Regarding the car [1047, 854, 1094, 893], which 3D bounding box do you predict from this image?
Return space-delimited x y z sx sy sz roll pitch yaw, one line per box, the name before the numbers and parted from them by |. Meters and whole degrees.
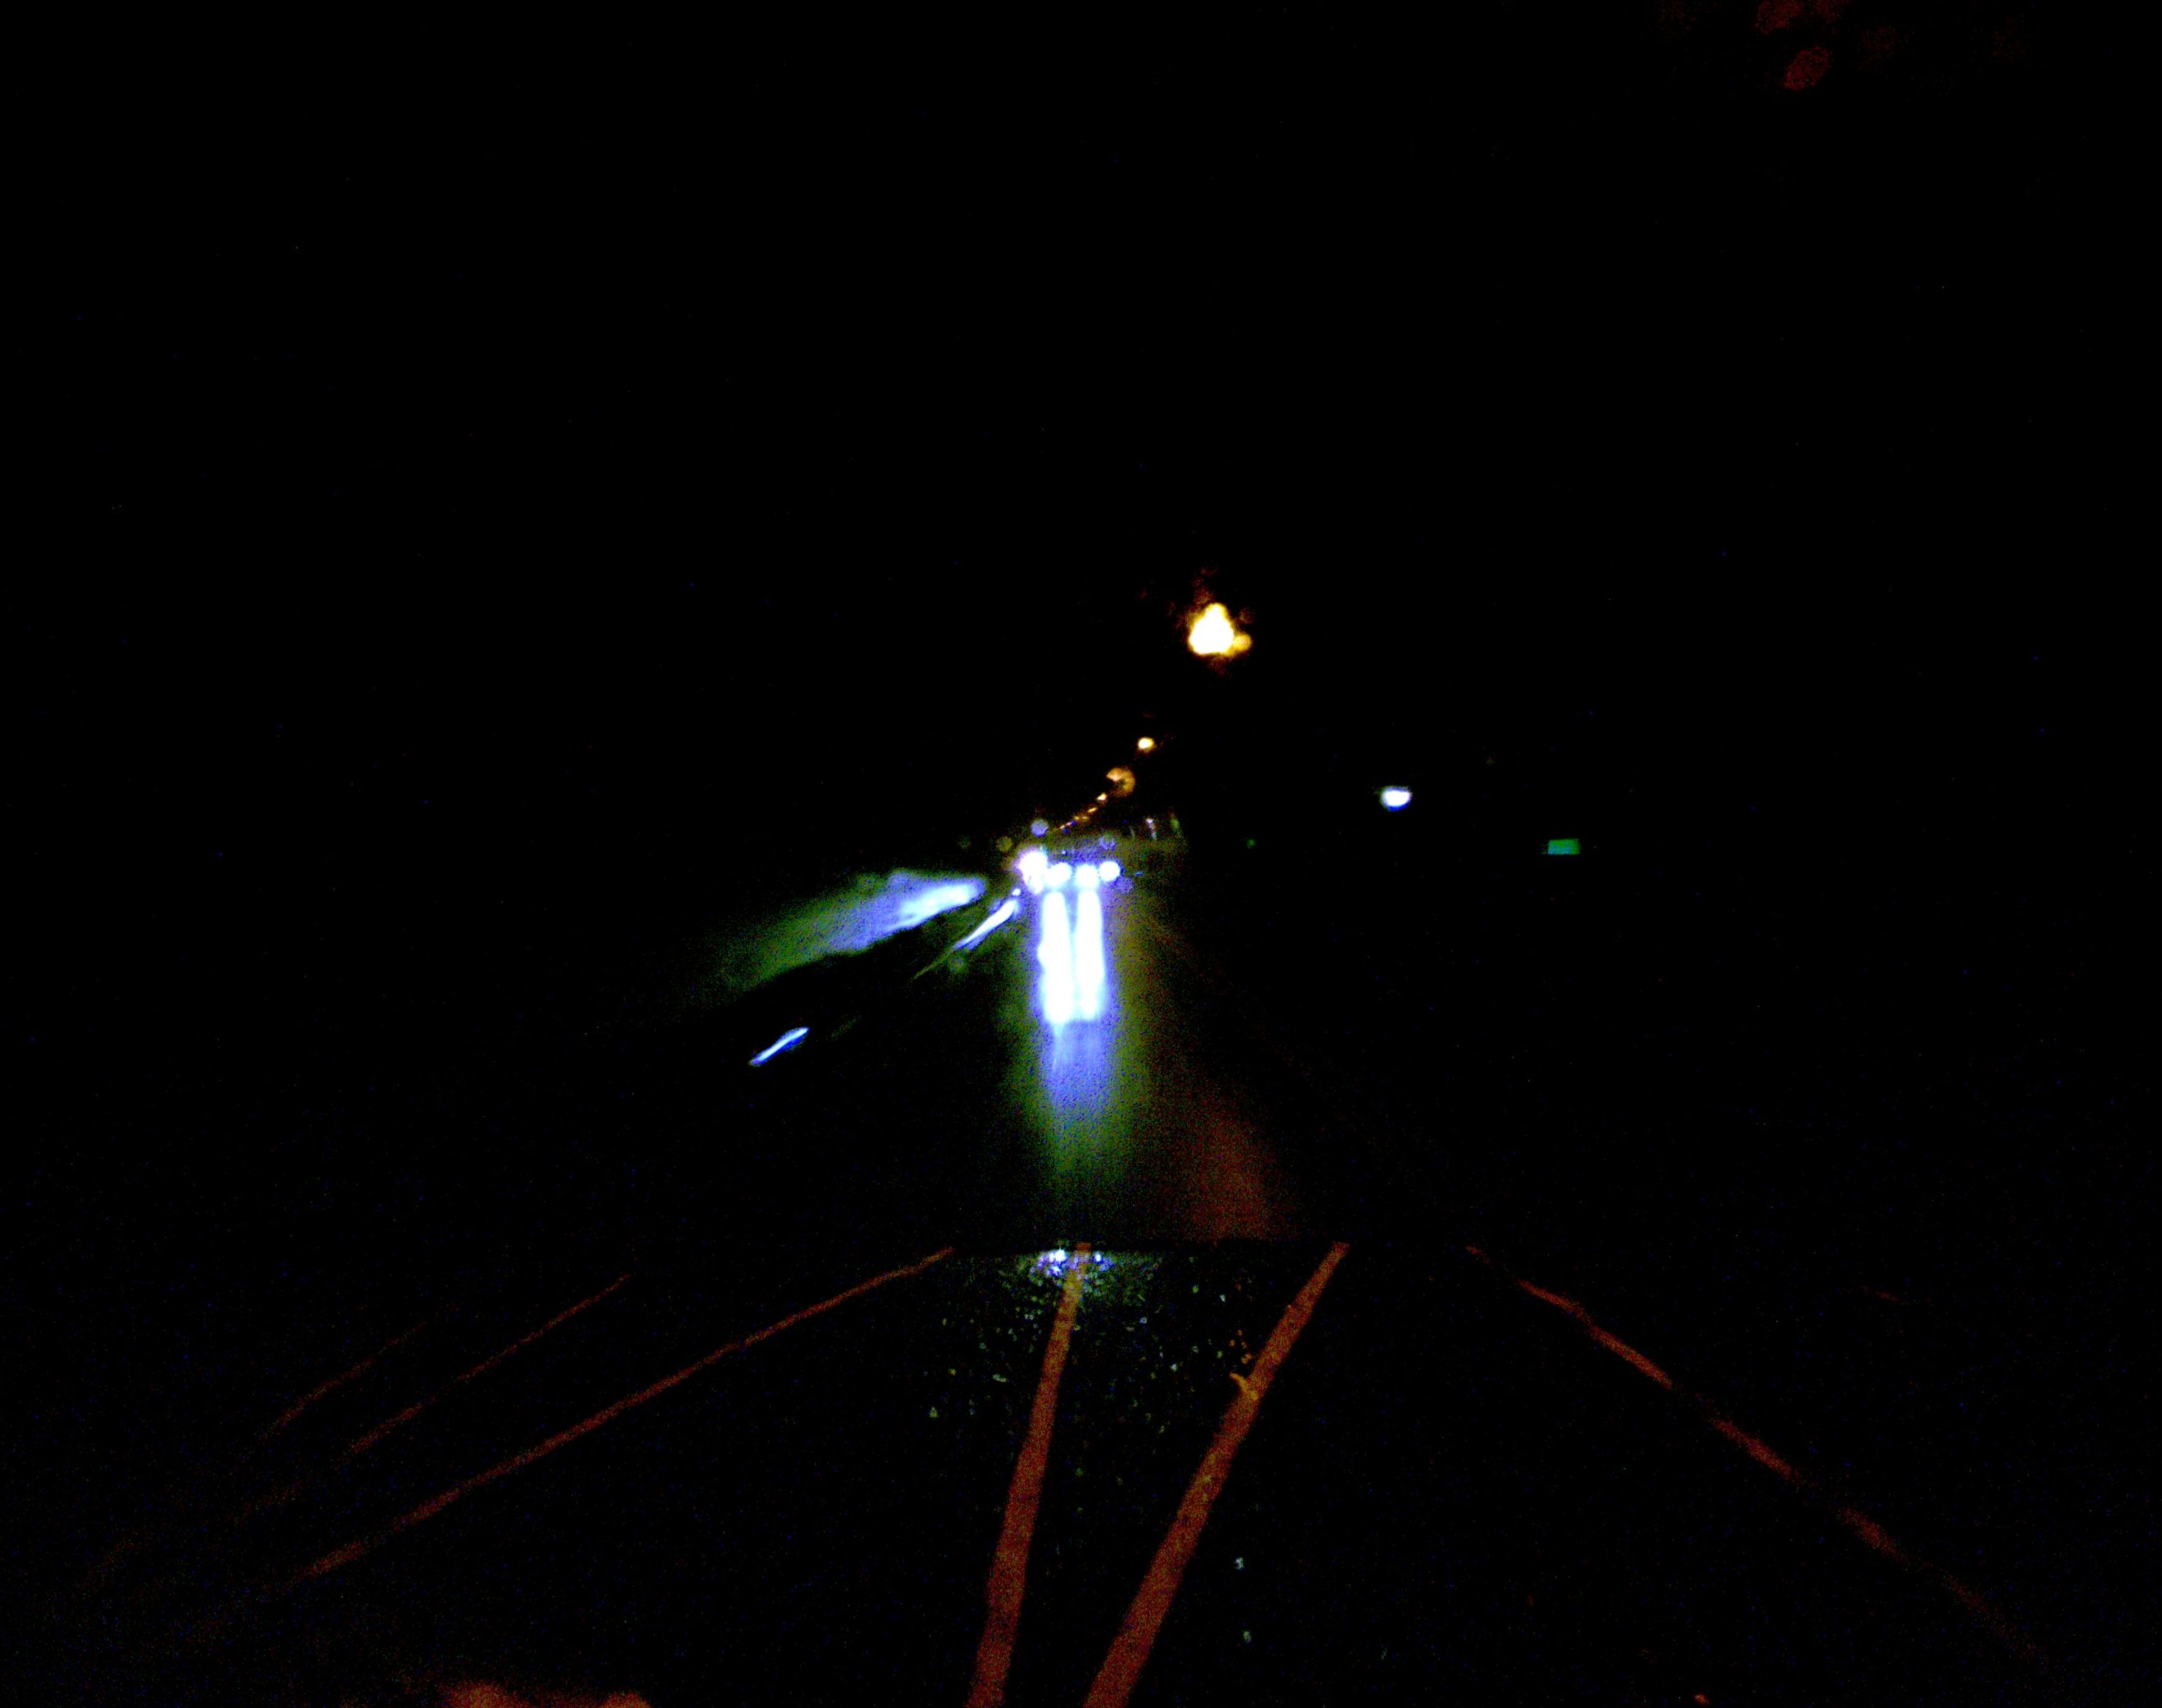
car | -0.531 0.853 34.670 1.999 1.547 3.998 -2 1 -3
